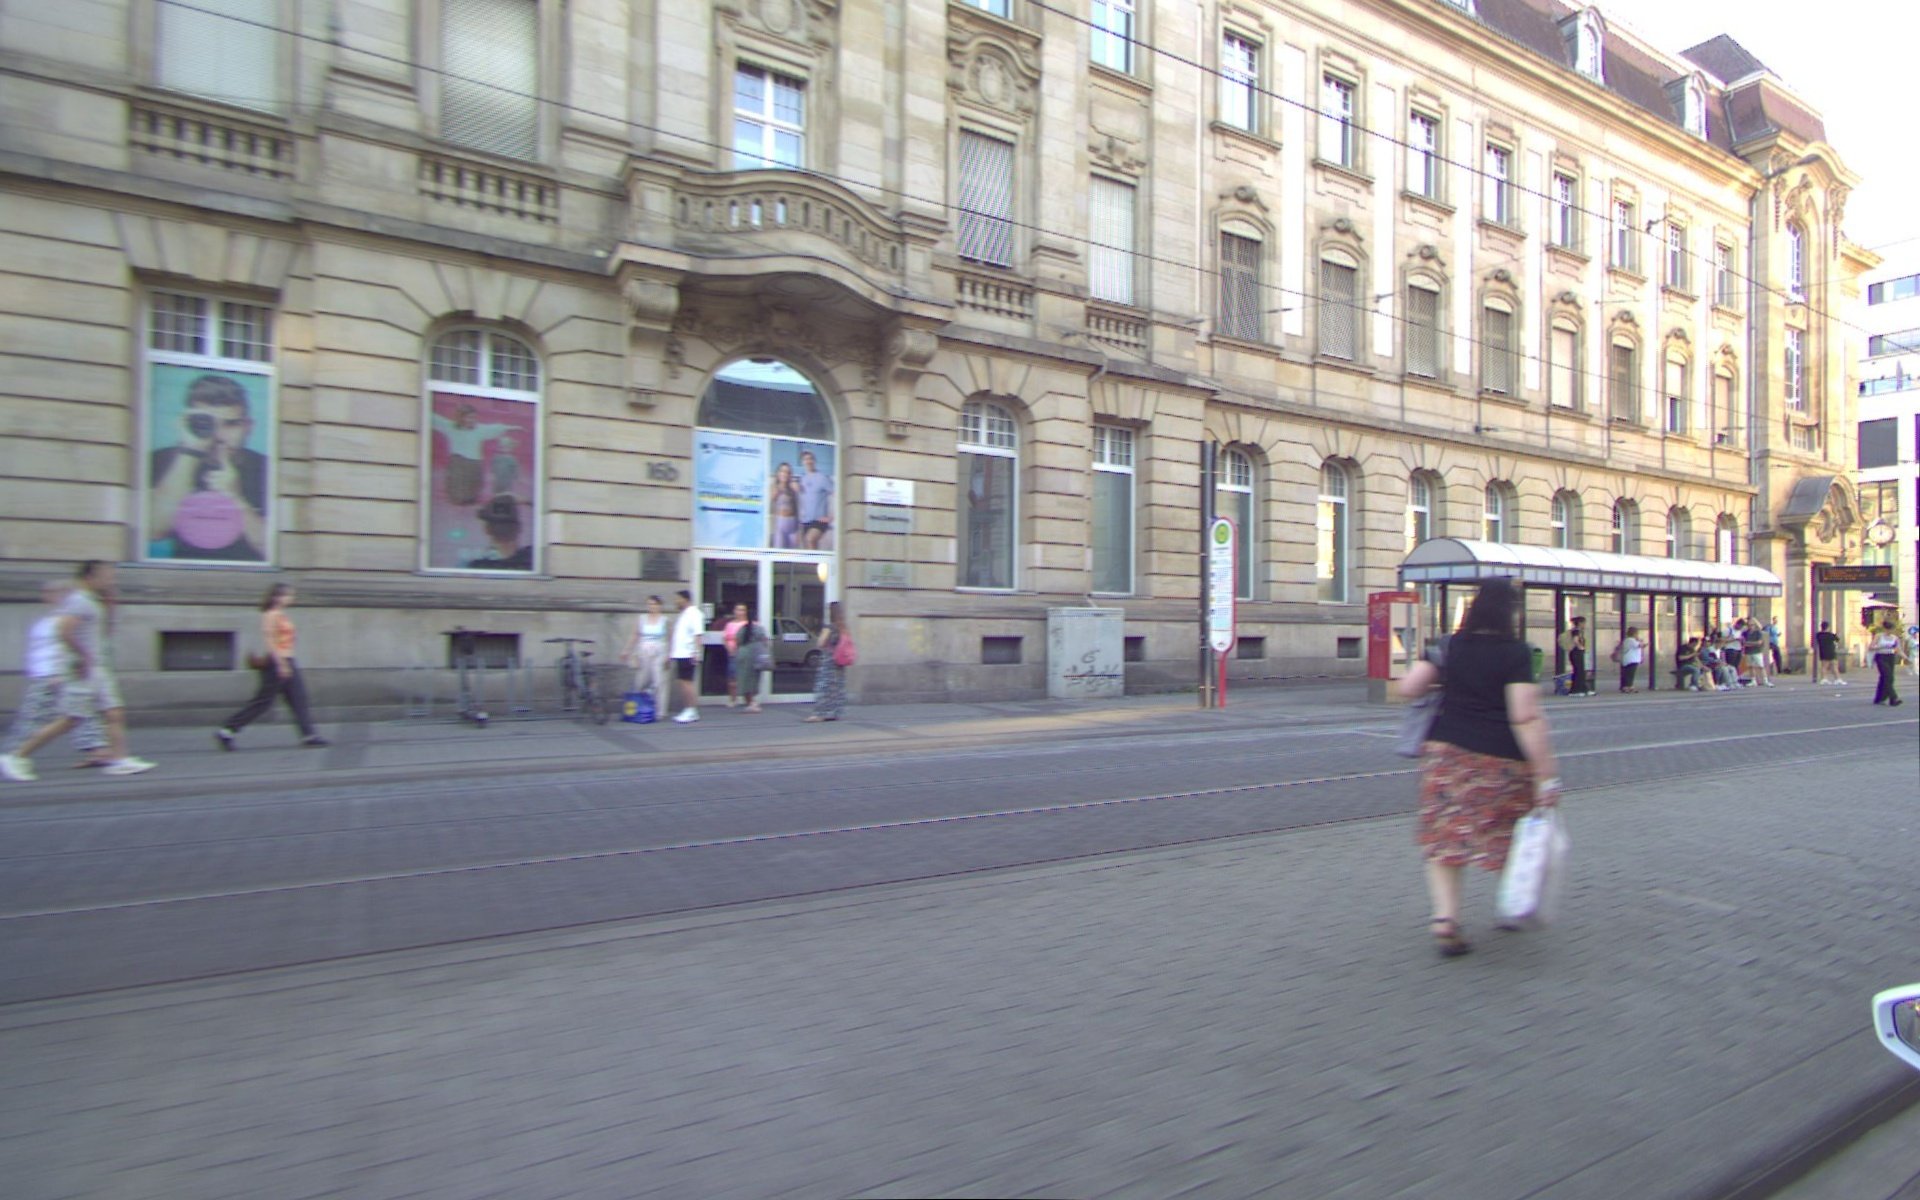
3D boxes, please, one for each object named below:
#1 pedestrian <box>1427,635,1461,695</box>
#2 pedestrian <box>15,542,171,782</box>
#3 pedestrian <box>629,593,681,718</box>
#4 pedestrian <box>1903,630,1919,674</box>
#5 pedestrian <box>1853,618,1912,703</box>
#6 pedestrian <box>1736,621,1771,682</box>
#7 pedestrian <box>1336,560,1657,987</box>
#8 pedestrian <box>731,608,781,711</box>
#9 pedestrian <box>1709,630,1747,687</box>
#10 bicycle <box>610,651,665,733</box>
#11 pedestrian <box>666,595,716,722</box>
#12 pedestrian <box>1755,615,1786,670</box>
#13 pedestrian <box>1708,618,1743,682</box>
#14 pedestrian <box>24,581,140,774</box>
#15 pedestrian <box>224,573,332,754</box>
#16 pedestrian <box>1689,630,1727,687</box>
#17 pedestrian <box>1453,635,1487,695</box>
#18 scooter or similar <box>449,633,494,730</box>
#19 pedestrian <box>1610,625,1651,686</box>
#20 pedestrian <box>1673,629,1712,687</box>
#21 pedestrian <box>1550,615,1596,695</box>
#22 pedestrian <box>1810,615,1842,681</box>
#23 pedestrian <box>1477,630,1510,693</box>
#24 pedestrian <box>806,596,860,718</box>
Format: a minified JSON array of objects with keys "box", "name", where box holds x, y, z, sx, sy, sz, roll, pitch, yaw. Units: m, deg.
[{"box":[9.169,1.227,19.024,0.424,1.117,0.363,2,0,-25],"name":"pedestrian"},{"box":[-7.012,0.484,8.171,0.805,1.837,0.689,1,-1,-30],"name":"pedestrian"},{"box":[-4.123,0.742,13.591,0.597,1.664,0.334,2,0,-24],"name":"pedestrian"},{"box":[34.408,1.870,36.161,0.512,1.545,0.499,1,-1,-21],"name":"pedestrian"},{"box":[19.076,1.247,20.778,0.627,1.713,0.675,2,-1,-14],"name":"pedestrian"},{"box":[21.020,1.368,26.605,0.630,1.590,0.516,2,-1,-27],"name":"pedestrian"},{"box":[2.212,0.632,4.181,0.891,1.521,0.842,1,-1,-31],"name":"pedestrian"},{"box":[-2.969,0.860,14.623,0.560,1.459,0.441,2,0,6],"name":"pedestrian"},{"box":[18.734,1.425,24.501,0.630,1.345,0.516,2,-1,-27],"name":"pedestrian"},{"box":[-4.040,1.118,12.531,0.445,0.885,1.571,2,0,-25],"name":"bicycle"},{"box":[-3.592,0.771,13.408,0.554,1.664,0.475,2,0,-23],"name":"pedestrian"},{"box":[26.855,1.397,33.263,0.699,1.800,0.616,1,-1,-34],"name":"pedestrian"},{"box":[20.202,1.326,26.515,0.630,1.667,0.516,2,-1,-27],"name":"pedestrian"},{"box":[-7.584,0.642,8.705,0.673,1.582,0.655,1,-1,-37],"name":"pedestrian"},{"box":[-6.851,0.620,10.134,0.805,1.734,0.689,1,-1,-29],"name":"pedestrian"},{"box":[17.961,1.398,24.121,0.630,1.345,0.516,2,-1,-27],"name":"pedestrian"},{"box":[9.741,1.245,19.187,0.424,1.117,0.363,2,0,-25],"name":"pedestrian"},{"box":[-6.078,0.981,12.540,0.445,1.082,1.542,2,0,-25],"name":"scooter or similar"},{"box":[15.034,1.233,22.519,0.630,1.345,0.516,2,-1,-27],"name":"pedestrian"},{"box":[17.311,1.376,23.728,0.630,1.345,0.516,2,-1,-27],"name":"pedestrian"},{"box":[12.959,1.159,21.248,0.626,1.672,0.519,2,-1,-8],"name":"pedestrian"},{"box":[23.900,1.314,27.724,0.464,1.800,0.556,1,-1,-34],"name":"pedestrian"},{"box":[10.437,1.200,19.656,0.424,1.216,0.363,2,0,-25],"name":"pedestrian"},{"box":[-1.734,0.774,13.730,0.565,1.627,0.437,2,0,-29],"name":"pedestrian"}]
